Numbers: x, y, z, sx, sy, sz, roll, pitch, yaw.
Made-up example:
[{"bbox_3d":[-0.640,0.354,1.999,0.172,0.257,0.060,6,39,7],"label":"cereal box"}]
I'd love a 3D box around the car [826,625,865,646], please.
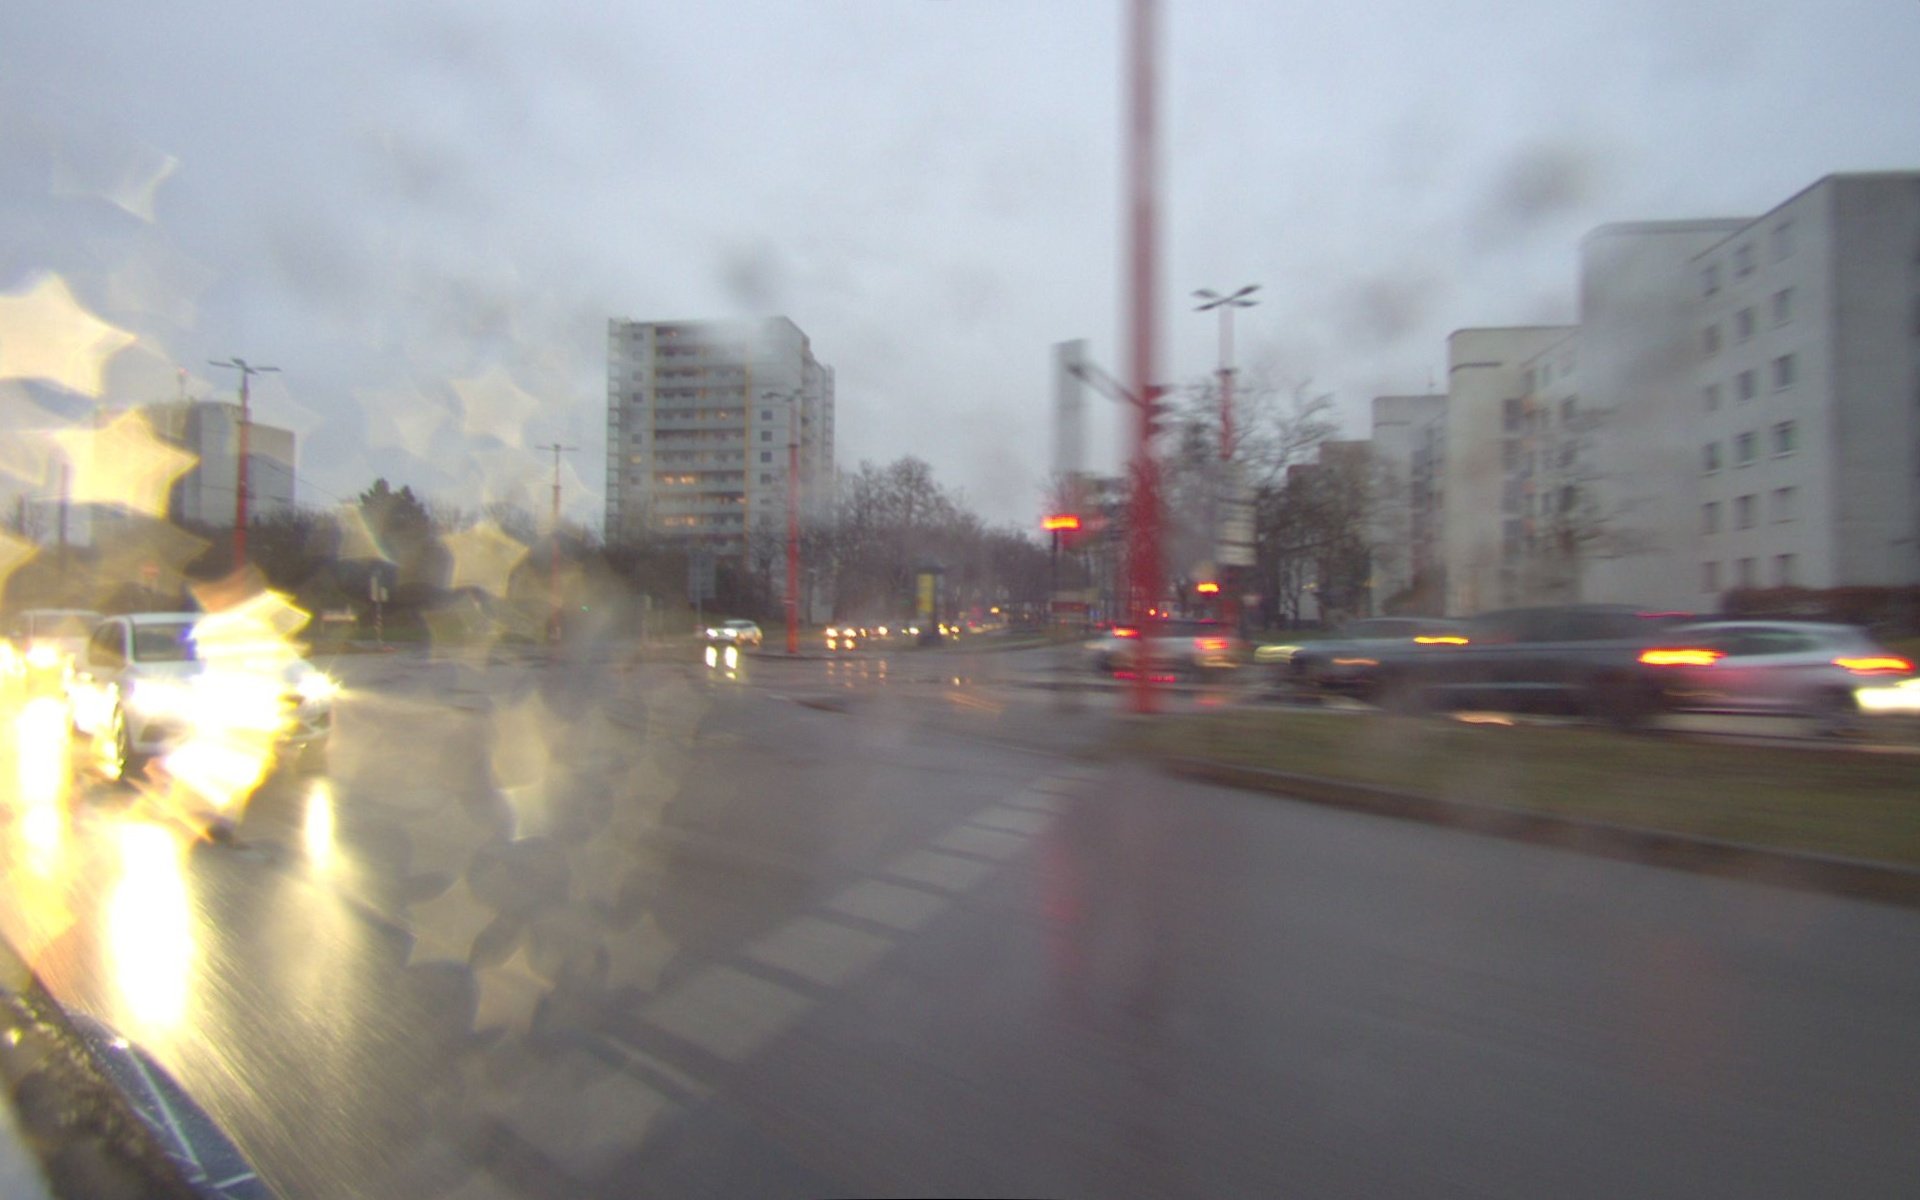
[{"bbox_3d":[-8.980,2.786,79.664,1.696,1.556,3.981,0,-2,14],"label":"car"}]

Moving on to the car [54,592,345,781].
[{"bbox_3d":[-8.306,0.797,10.912,4.145,1.660,1.696,-1,-2,41],"label":"car"}]

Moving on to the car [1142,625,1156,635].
[{"bbox_3d":[26.186,4.148,140.064,1.756,1.397,3.988,0,-2,9],"label":"car"}]

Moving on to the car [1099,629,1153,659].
[{"bbox_3d":[9.073,2.378,55.669,1.971,1.541,4.600,0,-2,-3],"label":"car"}]

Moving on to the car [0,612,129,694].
[{"bbox_3d":[-19.124,1.046,21.427,4.187,1.551,1.672,-1,-1,41],"label":"car"}]

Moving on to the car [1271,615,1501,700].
[{"bbox_3d":[8.535,1.109,20.461,3.944,1.565,1.752,-1,-2,40],"label":"car"}]

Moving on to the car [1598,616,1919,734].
[{"bbox_3d":[10.861,0.954,13.917,3.324,1.431,1.635,-1,-2,41],"label":"car"}]

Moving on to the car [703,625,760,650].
[{"bbox_3d":[-14.962,2.439,66.582,1.834,1.556,4.420,0,-2,14],"label":"car"}]

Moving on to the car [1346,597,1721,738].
[{"bbox_3d":[7.505,0.820,13.453,4.076,1.594,1.838,-1,-2,40],"label":"car"}]

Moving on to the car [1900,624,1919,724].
[{"bbox_3d":[15.703,1.047,13.949,3.907,1.438,1.604,-1,-2,41],"label":"car"}]

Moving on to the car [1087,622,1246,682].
[{"bbox_3d":[5.582,1.373,27.650,4.014,1.506,1.602,-1,-2,40],"label":"car"}]
